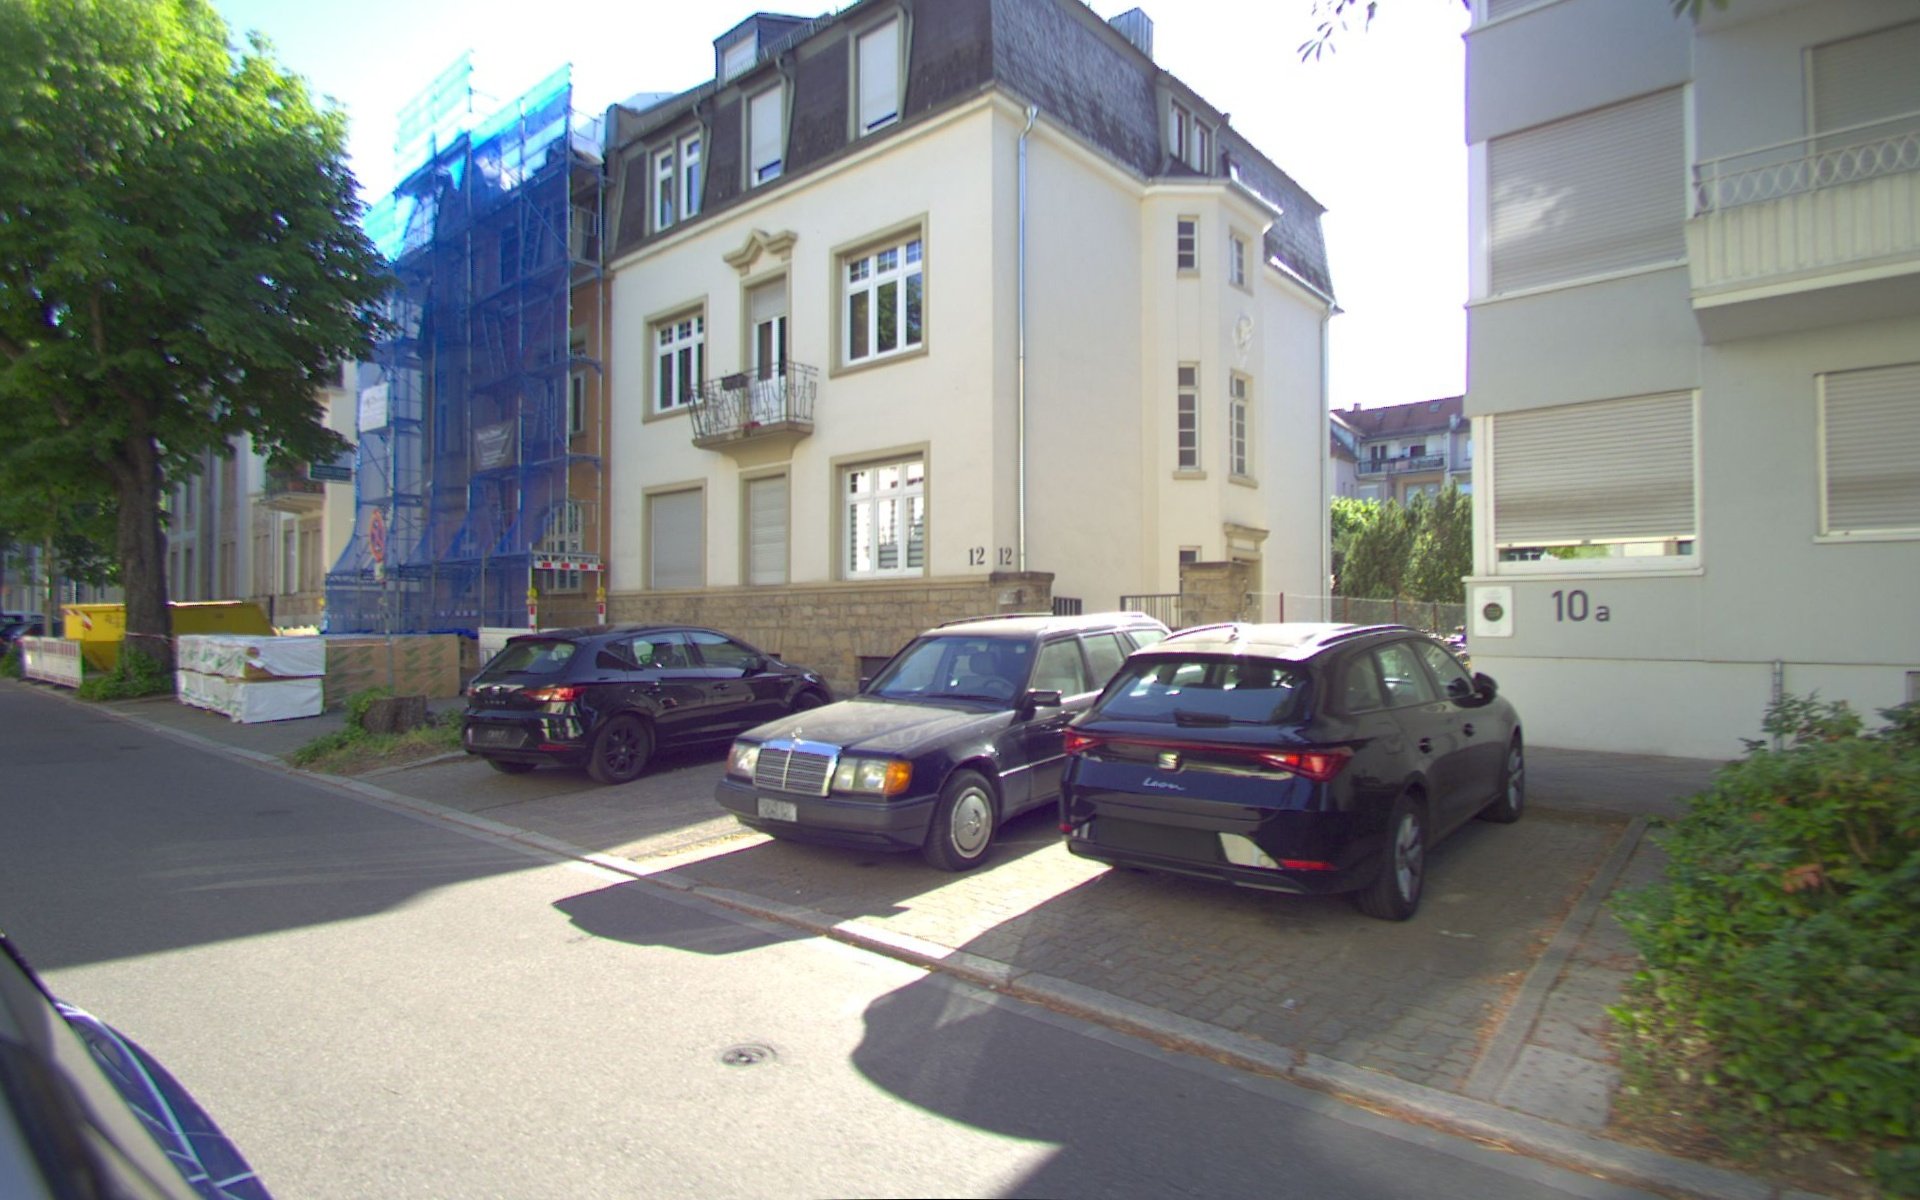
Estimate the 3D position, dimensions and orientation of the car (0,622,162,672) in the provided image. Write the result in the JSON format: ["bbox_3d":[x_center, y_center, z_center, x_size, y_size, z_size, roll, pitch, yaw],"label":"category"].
[{"bbox_3d":[-27.659,1.487,31.885,1.714,1.476,3.686,-2,-3,41],"label":"car"}]

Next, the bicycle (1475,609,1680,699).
[{"bbox_3d":[10.801,0.915,17.842,3.027,1.468,0.537,-1,-2,41],"label":"bicycle"}]

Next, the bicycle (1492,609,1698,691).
[{"bbox_3d":[12.164,0.938,19.535,3.322,1.476,0.531,-1,-2,41],"label":"bicycle"}]

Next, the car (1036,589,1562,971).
[{"bbox_3d":[2.378,0.724,6.275,1.711,1.452,4.146,-1,1,39],"label":"car"}]

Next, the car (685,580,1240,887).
[{"bbox_3d":[0.351,0.748,7.725,1.831,1.619,4.544,-1,-1,38],"label":"car"}]

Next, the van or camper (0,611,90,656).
[{"bbox_3d":[-37.945,1.350,40.987,1.808,1.787,3.904,-3,-2,40],"label":"van or camper"}]

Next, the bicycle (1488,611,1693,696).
[{"bbox_3d":[11.686,0.960,18.898,3.187,1.476,0.553,-1,-2,41],"label":"bicycle"}]

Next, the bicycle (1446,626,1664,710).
[{"bbox_3d":[9.464,1.037,16.245,2.958,1.247,0.483,-1,-2,41],"label":"bicycle"}]

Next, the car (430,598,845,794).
[{"bbox_3d":[-3.116,0.802,10.515,1.827,1.525,3.842,-1,1,32],"label":"car"}]

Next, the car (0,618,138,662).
[{"bbox_3d":[-31.443,1.376,35.270,1.709,1.411,4.097,-2,-1,40],"label":"car"}]

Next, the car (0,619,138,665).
[{"bbox_3d":[-30.074,1.392,33.883,1.645,1.442,3.708,-1,-3,41],"label":"car"}]

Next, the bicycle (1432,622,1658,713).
[{"bbox_3d":[9.009,0.994,15.736,2.993,1.309,0.459,-1,-2,41],"label":"bicycle"}]

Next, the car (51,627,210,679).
[{"bbox_3d":[-25.200,1.585,30.816,1.695,1.459,3.512,-1,-3,41],"label":"car"}]

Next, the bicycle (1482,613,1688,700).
[{"bbox_3d":[11.288,0.985,18.415,3.136,1.476,0.540,-1,-2,41],"label":"bicycle"}]
